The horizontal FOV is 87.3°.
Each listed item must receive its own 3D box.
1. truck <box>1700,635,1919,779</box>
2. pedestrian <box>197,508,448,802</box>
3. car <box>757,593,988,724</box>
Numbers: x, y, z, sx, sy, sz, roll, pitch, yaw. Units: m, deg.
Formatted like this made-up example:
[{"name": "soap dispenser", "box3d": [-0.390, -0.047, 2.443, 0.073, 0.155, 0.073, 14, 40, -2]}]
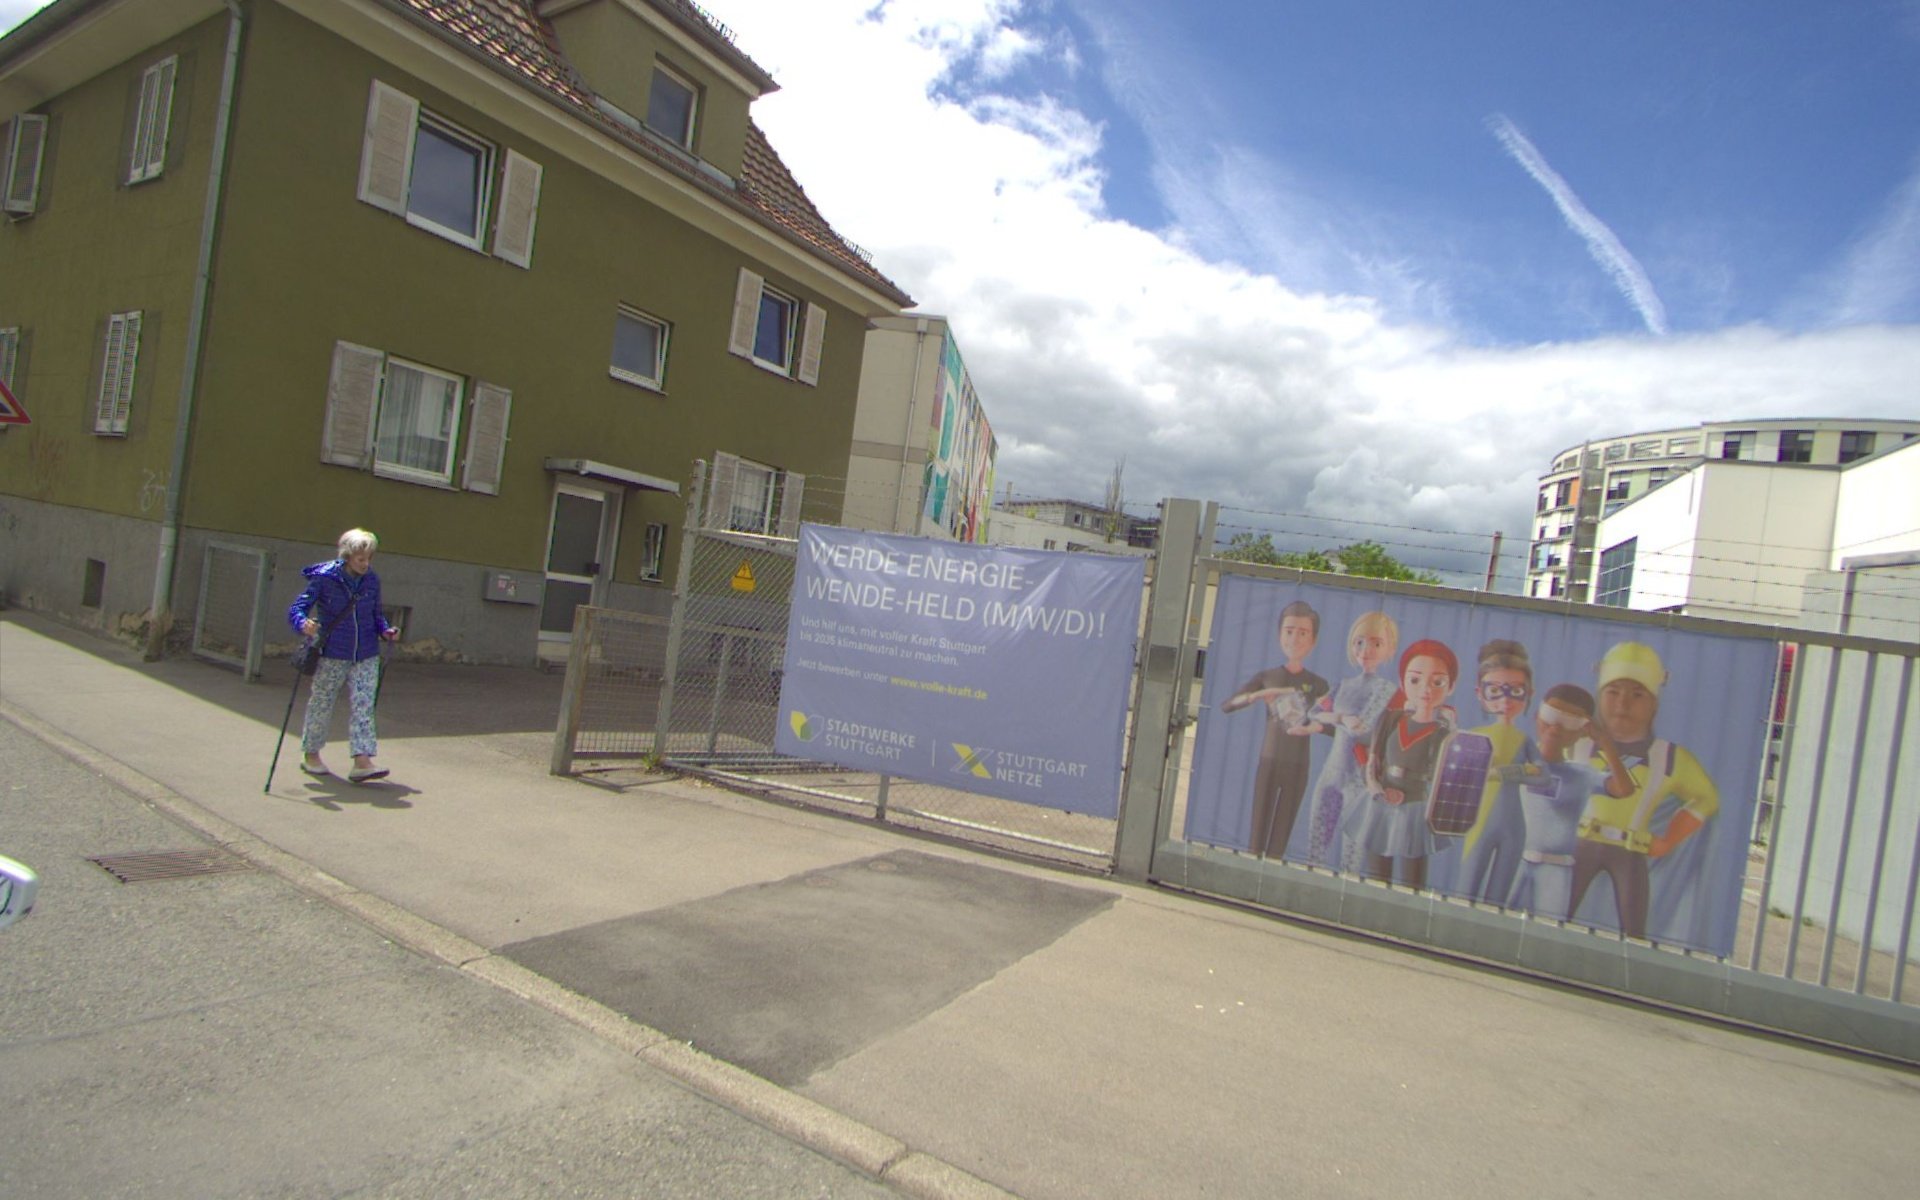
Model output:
[{"name": "truck", "box3d": [28.950, 3.568, 33.730, 5.794, 3.906, 2.606, 7, -1, 18]}, {"name": "pedestrian", "box3d": [-3.923, 0.313, 6.211, 0.971, 1.592, 0.825, 7, 1, 29]}, {"name": "car", "box3d": [-1.173, 0.933, 15.049, 1.630, 1.511, 3.515, 9, -1, 28]}]
